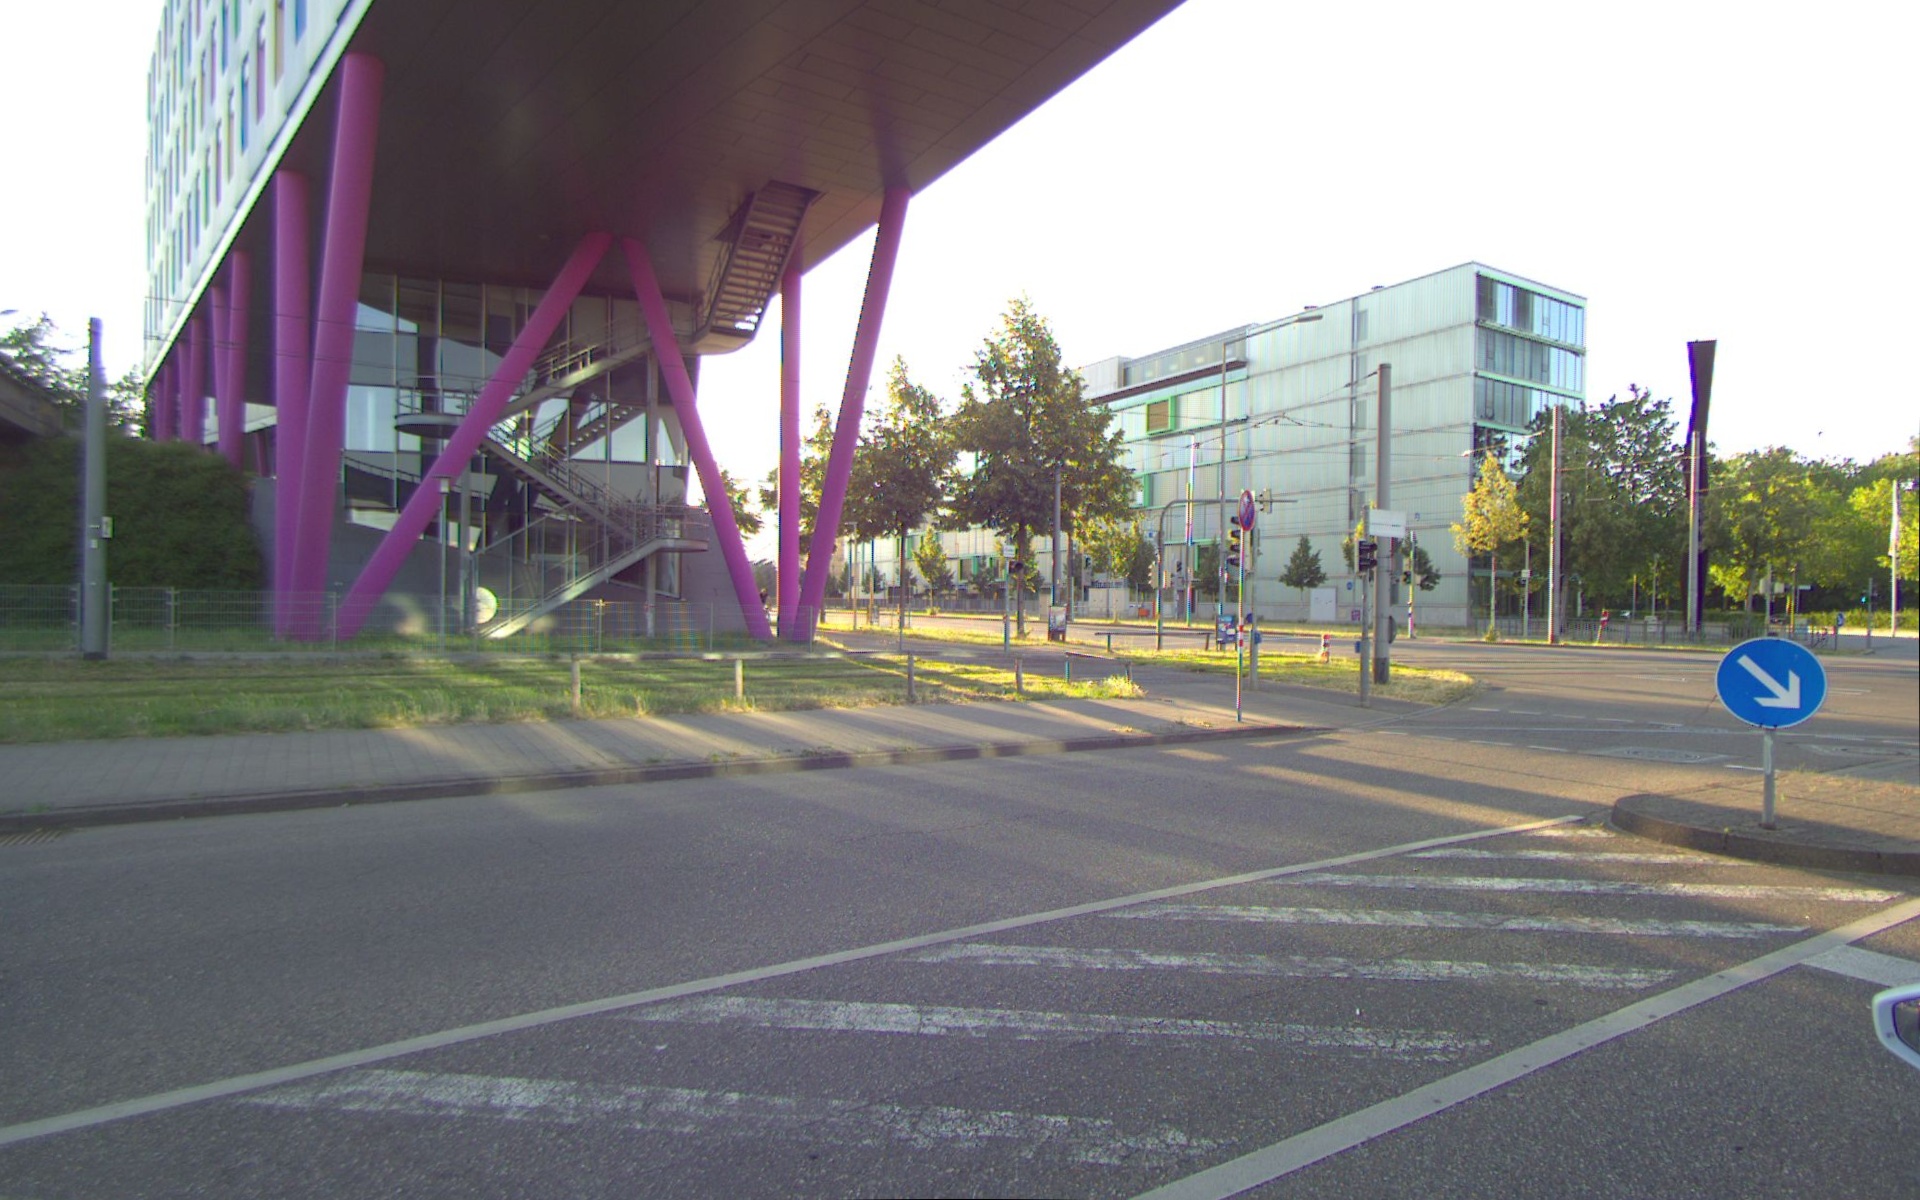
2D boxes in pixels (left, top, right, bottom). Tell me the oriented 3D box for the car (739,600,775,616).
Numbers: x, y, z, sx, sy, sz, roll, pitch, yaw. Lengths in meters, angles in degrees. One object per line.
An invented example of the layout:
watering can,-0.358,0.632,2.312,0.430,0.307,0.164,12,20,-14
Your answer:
car,-18.869,0.714,93.381,1.979,1.439,3.963,1,0,-33

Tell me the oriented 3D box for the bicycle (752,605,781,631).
bicycle,-9.240,0.847,47.803,0.734,1.223,2.094,1,0,-29

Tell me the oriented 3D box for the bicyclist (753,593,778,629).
bicyclist,-9.236,0.525,47.763,0.798,1.655,1.278,1,0,-29

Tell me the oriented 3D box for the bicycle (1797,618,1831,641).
bicycle,44.177,1.533,51.929,2.367,1.151,0.695,1,0,-33
